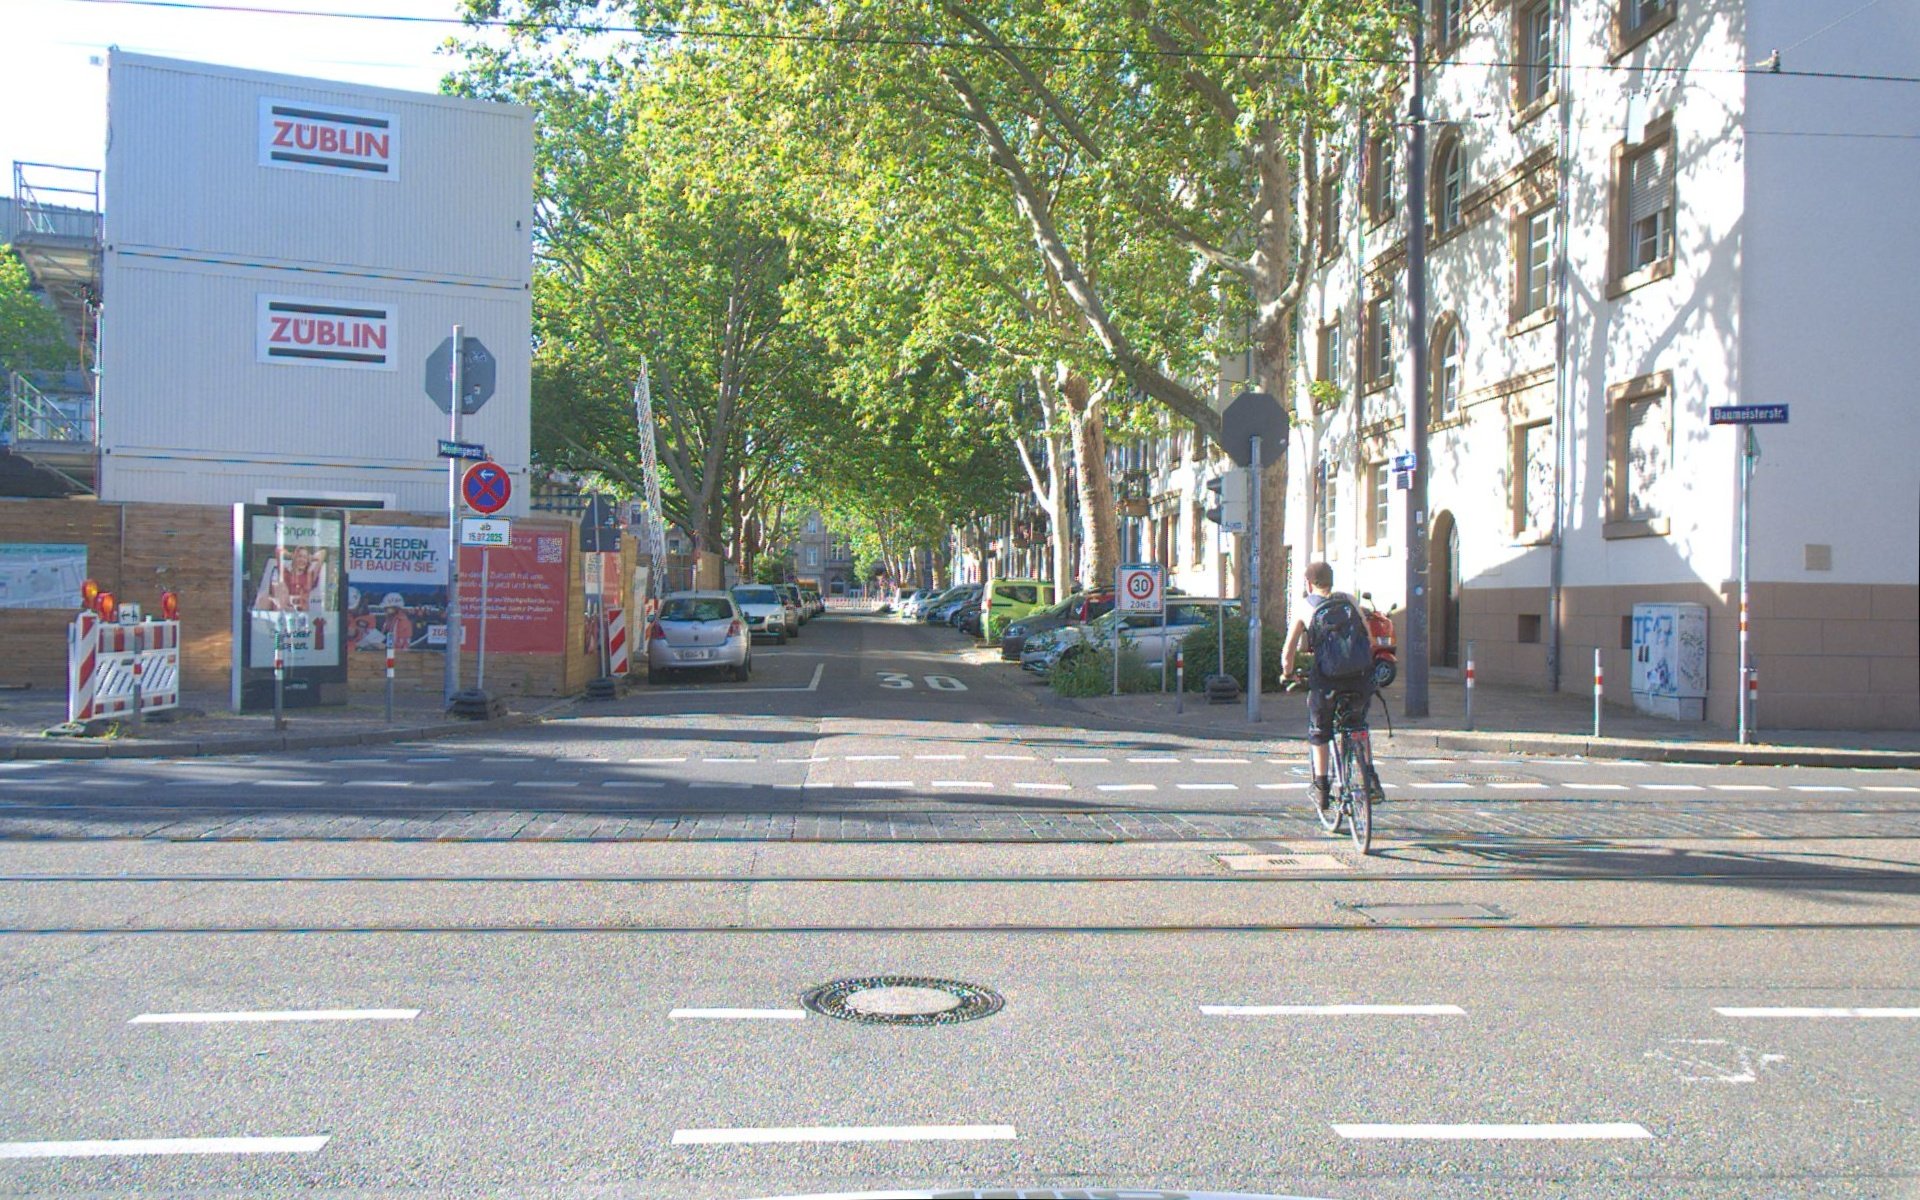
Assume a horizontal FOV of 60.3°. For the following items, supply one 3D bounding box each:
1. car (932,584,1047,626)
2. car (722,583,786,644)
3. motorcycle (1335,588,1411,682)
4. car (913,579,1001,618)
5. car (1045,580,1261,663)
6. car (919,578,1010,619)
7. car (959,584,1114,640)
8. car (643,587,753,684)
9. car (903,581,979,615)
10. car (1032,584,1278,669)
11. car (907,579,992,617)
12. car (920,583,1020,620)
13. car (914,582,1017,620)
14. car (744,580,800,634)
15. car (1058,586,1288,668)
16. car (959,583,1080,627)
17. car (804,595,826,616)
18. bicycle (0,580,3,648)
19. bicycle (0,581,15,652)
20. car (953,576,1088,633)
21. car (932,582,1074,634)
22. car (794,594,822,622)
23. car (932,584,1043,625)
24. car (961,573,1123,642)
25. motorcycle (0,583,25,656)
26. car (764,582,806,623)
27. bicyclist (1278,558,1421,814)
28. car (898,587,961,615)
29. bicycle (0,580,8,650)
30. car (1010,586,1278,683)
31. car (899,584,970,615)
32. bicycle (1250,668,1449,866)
[{"bbox_3d":[1.143,0.179,65.201,4.375,1.598,1.726,1,0,-5],"label":"car"},{"bbox_3d":[-5.570,0.335,45.038,1.633,1.590,3.995,1,0,-6],"label":"car"},{"bbox_3d":[6.177,0.505,24.814,0.504,1.356,1.761,1,0,-6],"label":"motorcycle"},{"bbox_3d":[-0.176,-0.092,84.792,4.375,1.931,1.726,1,0,-5],"label":"car"},{"bbox_3d":[4.137,0.452,35.749,4.375,1.700,1.726,1,0,-5],"label":"car"},{"bbox_3d":[0.193,-0.077,82.047,4.375,1.931,1.726,1,0,-5],"label":"car"},{"bbox_3d":[2.226,0.345,48.705,4.375,1.598,1.726,1,0,-5],"label":"car"},{"bbox_3d":[-4.516,0.558,28.951,1.612,1.520,3.995,-2,1,-6],"label":"car"},{"bbox_3d":[-1.135,-0.124,97.563,4.375,1.931,1.726,1,0,-5],"label":"car"},{"bbox_3d":[3.635,0.490,31.244,4.375,1.527,1.726,1,0,-5],"label":"car"},{"bbox_3d":[-0.567,-0.103,87.638,4.375,1.931,1.726,1,0,-5],"label":"car"},{"bbox_3d":[0.440,0.056,74.730,4.375,1.598,1.726,1,0,-5],"label":"car"},{"bbox_3d":[0.229,0.043,72.389,4.375,1.598,1.726,1,0,-5],"label":"car"},{"bbox_3d":[-5.732,0.192,50.748,1.633,1.590,4.513,1,0,-6],"label":"car"},{"bbox_3d":[4.290,0.529,33.669,4.375,1.598,1.726,1,0,-5],"label":"car"},{"bbox_3d":[2.216,0.180,62.073,4.375,1.598,1.726,1,0,-5],"label":"car"},{"bbox_3d":[-11.248,0.421,127.948,1.633,1.590,4.214,1,0,-6],"label":"car"},{"bbox_3d":[-18.844,0.266,30.507,2.032,1.279,0.464,0,1,-42],"label":"bicycle"},{"bbox_3d":[-18.213,0.306,29.774,2.032,1.279,0.464,0,1,-42],"label":"bicycle"},{"bbox_3d":[2.030,0.159,55.915,4.375,1.868,1.726,1,0,-6],"label":"car"},{"bbox_3d":[1.339,0.252,52.585,4.375,1.598,1.726,1,0,-5],"label":"car"},{"bbox_3d":[-9.031,0.448,98.228,1.633,1.590,4.214,1,0,-6],"label":"car"},{"bbox_3d":[1.098,0.184,67.678,4.375,1.598,1.726,1,0,-5],"label":"car"},{"bbox_3d":[2.278,0.203,46.688,4.375,1.868,1.726,1,0,-6],"label":"car"},{"bbox_3d":[-17.606,0.352,28.872,2.193,1.279,0.535,0,1,-42],"label":"motorcycle"},{"bbox_3d":[-7.116,0.092,67.403,1.633,1.590,4.611,1,0,-6],"label":"car"},{"bbox_3d":[2.442,0.522,10.417,0.663,1.539,0.668,2,0,-4],"label":"bicyclist"},{"bbox_3d":[-2.166,0.070,117.132,4.375,1.931,1.726,1,0,-5],"label":"car"},{"bbox_3d":[-18.535,0.273,30.118,2.032,1.279,0.464,0,1,-42],"label":"bicycle"},{"bbox_3d":[3.148,0.576,28.745,4.375,1.598,1.726,1,0,-5],"label":"car"},{"bbox_3d":[-1.608,-0.033,104.973,4.375,1.931,1.726,1,0,-5],"label":"car"},{"bbox_3d":[2.417,1.006,10.504,0.676,1.034,1.906,2,0,-4],"label":"bicycle"}]
